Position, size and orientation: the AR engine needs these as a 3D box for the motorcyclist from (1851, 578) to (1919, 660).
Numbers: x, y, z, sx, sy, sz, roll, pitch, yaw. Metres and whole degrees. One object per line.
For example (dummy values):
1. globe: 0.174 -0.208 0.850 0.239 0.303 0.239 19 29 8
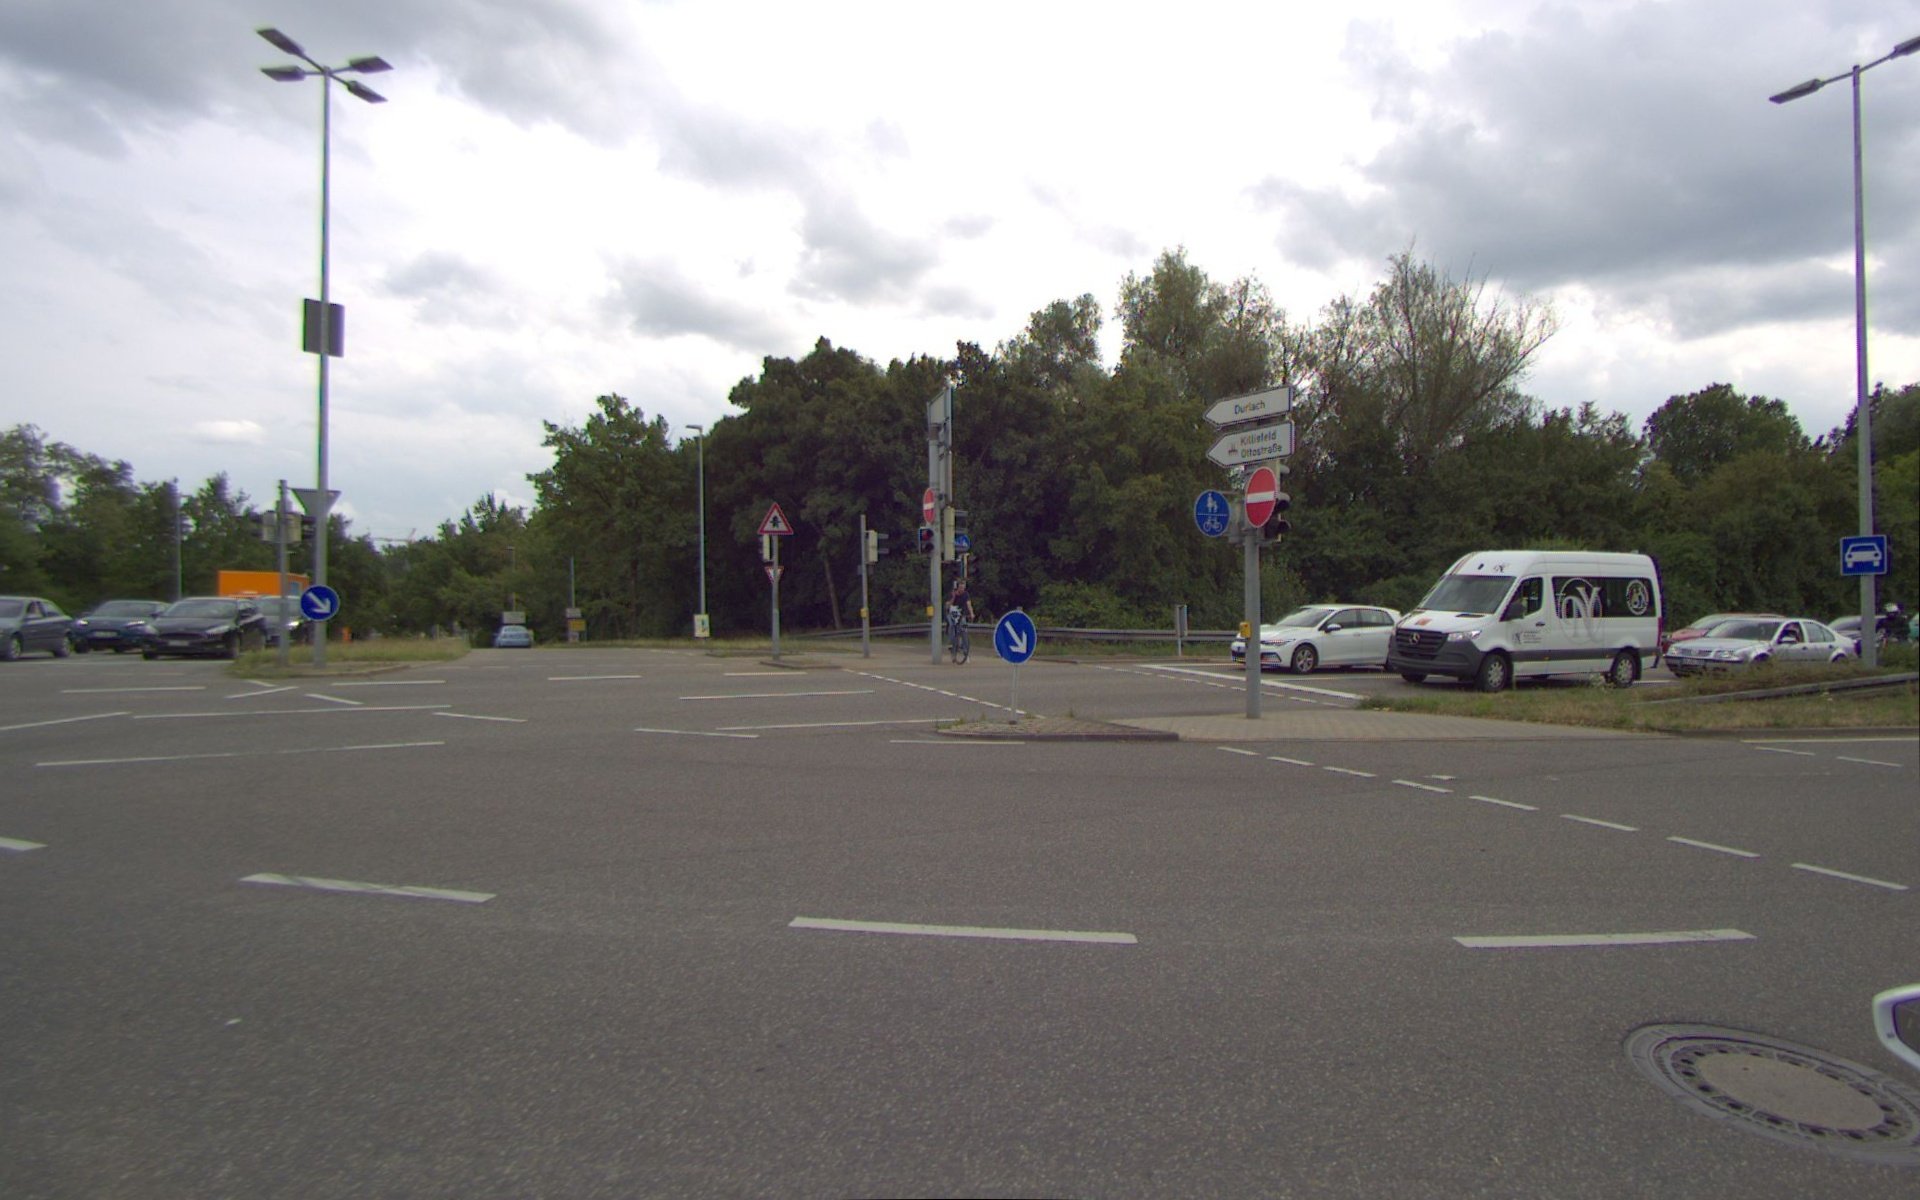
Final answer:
1. motorcyclist: 21.328 0.434 23.141 0.912 1.847 0.863 1 0 -22

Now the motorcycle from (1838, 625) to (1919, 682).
1. motorcycle: 21.335 1.219 23.110 2.293 1.241 0.797 1 0 -23

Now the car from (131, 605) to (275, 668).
1. car: -18.108 0.819 24.245 1.973 1.327 4.045 1 0 -25

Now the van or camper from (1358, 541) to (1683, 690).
1. van or camper: 11.144 0.311 19.883 6.403 2.623 2.155 1 0 -23

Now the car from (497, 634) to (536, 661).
1. car: -25.814 2.782 58.402 1.869 1.475 3.974 1 -4 -27

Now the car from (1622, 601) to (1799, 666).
1. car: 20.030 0.864 26.841 3.939 1.636 1.991 1 0 -20

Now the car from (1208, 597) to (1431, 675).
1. car: 7.895 0.746 22.062 4.475 1.567 1.988 1 0 -24

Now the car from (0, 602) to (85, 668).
1. car: -21.230 0.733 22.130 1.973 1.327 3.782 1 0 -25

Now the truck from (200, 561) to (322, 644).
1. truck: -29.927 0.099 43.420 2.933 3.177 9.213 1 0 -26

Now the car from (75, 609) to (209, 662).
1. car: -23.264 0.959 28.773 1.973 1.327 4.310 1 0 -25

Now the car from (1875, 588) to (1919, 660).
1. car: 25.868 0.616 25.475 4.883 1.752 1.802 1 0 -19

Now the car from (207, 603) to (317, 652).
1. car: -20.930 0.769 30.311 1.973 1.327 4.545 1 0 -25

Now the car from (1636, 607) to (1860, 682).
1. car: 17.389 0.944 22.176 4.335 1.518 1.990 1 0 -22

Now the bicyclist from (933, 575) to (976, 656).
1. bicyclist: -0.120 0.360 22.254 0.787 1.757 0.743 1 -1 -15

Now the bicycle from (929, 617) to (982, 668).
1. bicycle: -0.117 0.932 22.184 0.696 1.066 1.939 1 -2 -16
